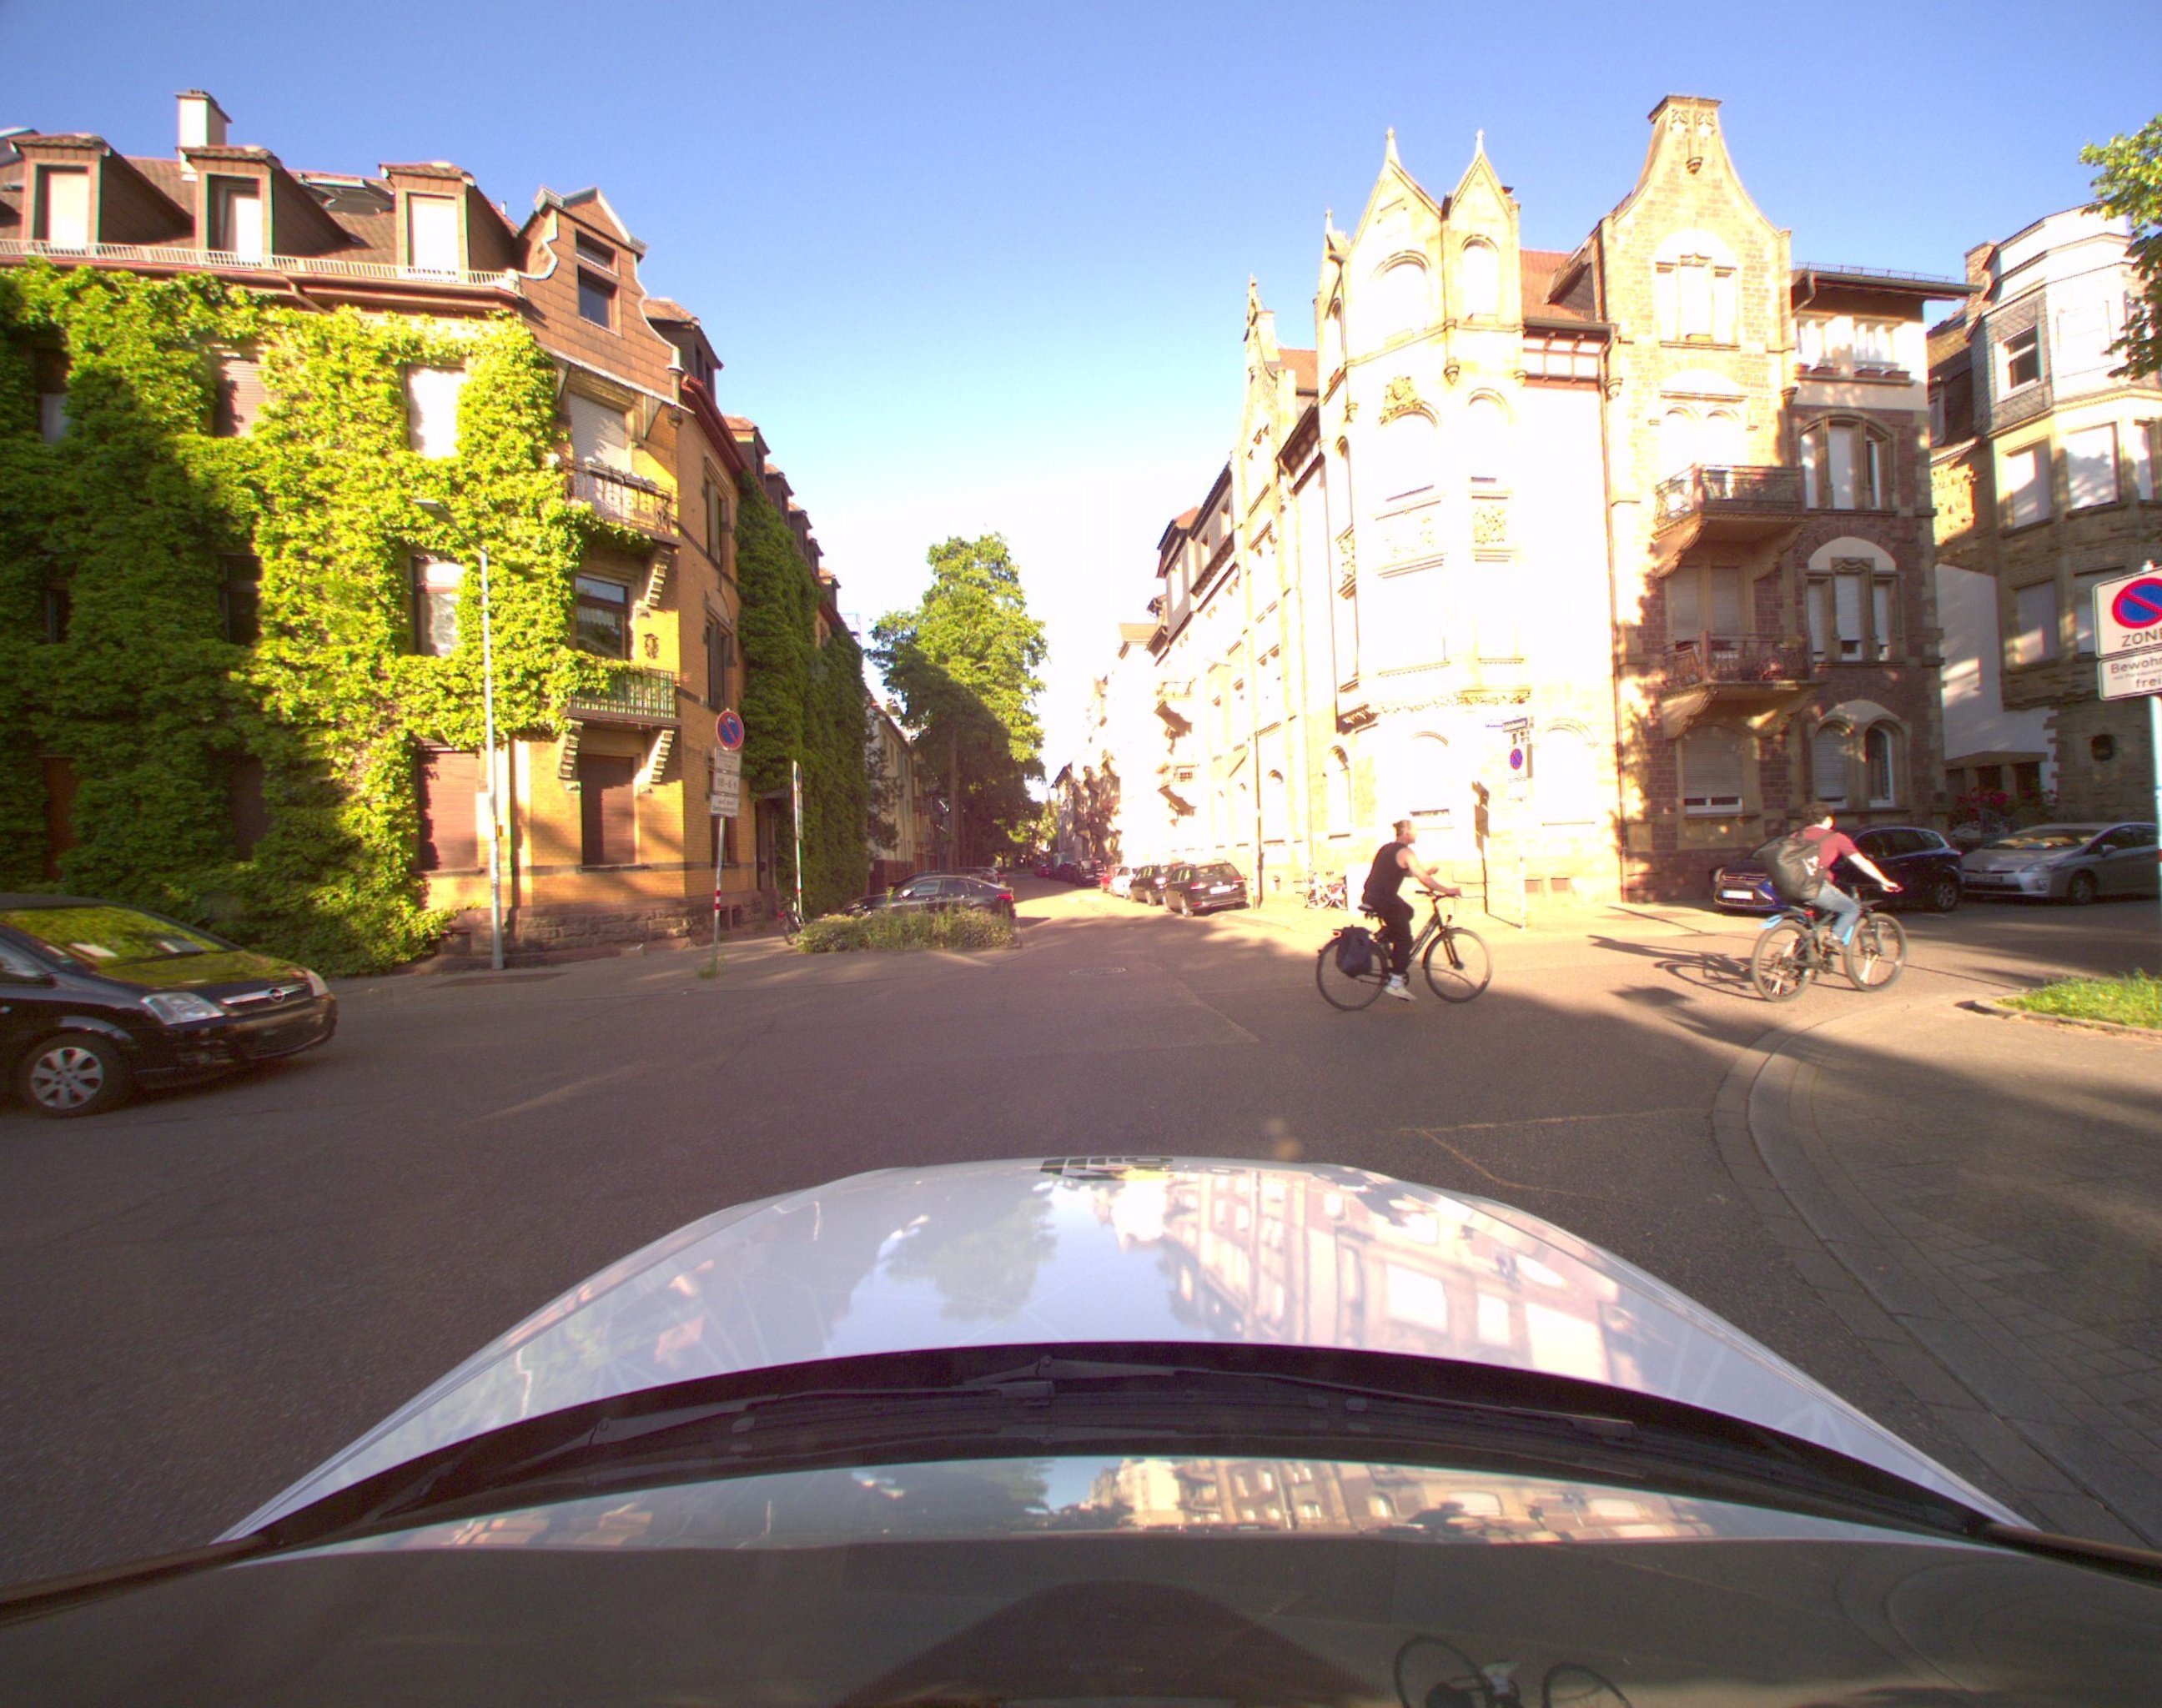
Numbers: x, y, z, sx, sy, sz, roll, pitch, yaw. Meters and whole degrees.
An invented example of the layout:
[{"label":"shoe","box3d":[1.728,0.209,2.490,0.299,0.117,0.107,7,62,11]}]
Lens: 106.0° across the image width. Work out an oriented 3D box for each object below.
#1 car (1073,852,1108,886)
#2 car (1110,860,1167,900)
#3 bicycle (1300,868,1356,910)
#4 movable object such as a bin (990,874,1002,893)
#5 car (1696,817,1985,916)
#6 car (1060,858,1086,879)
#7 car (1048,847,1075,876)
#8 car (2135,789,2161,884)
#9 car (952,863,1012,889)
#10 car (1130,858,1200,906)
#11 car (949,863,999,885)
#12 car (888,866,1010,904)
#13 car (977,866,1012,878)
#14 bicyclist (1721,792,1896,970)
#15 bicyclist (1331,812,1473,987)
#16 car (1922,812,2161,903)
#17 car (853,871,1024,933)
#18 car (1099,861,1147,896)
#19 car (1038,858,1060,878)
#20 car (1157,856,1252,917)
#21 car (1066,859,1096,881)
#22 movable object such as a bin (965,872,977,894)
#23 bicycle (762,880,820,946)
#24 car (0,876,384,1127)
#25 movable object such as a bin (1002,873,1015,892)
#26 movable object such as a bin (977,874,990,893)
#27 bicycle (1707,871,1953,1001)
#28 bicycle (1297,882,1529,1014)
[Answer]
[{"label":"car","box3d":[0.574,0.957,52.209,1.800,2.004,3.991,-1,-1,-6]},{"label":"car","box3d":[2.399,1.064,34.978,1.735,1.581,3.991,-1,-1,-6]},{"label":"bicycle","box3d":[6.094,0.843,20.188,0.515,0.998,1.566,-1,-1,-18]},{"label":"movable object such as a bin","box3d":[-4.710,1.628,45.173,0.630,1.053,0.566,-1,-1,-12]},{"label":"car","box3d":[13.882,0.192,14.969,4.246,1.622,1.729,-1,0,-11]},{"label":"car","box3d":[-0.692,1.181,67.255,1.800,1.679,3.991,-1,-1,-6]},{"label":"car","box3d":[-1.860,0.737,77.383,2.163,2.691,4.780,-1,-1,-6]},{"label":"car","box3d":[24.855,-0.453,16.817,4.485,1.974,1.968,-2,1,-11]},{"label":"car","box3d":[-6.497,1.416,53.101,3.802,1.575,1.704,-1,-1,-10]},{"label":"car","box3d":[2.988,0.988,29.672,1.735,1.581,3.991,-1,-1,-6]},{"label":"car","box3d":[-8.249,1.548,62.840,3.799,1.575,1.705,-1,-1,-9]},{"label":"car","box3d":[-5.435,1.253,33.815,4.832,1.435,1.705,-1,-1,-8]},{"label":"car","box3d":[-9.500,1.932,89.099,3.799,1.240,1.705,-1,-1,-9]},{"label":"bicyclist","box3d":[6.656,0.232,7.483,0.969,1.527,0.718,-1,-1,-9]},{"label":"bicyclist","box3d":[2.974,0.395,7.597,0.970,1.527,0.705,-1,-1,-13]},{"label":"car","box3d":[19.098,0.022,15.784,4.442,1.498,1.729,-2,1,-11]},{"label":"car","box3d":[-3.710,1.220,21.641,4.241,1.435,1.994,-1,-1,-8]},{"label":"car","box3d":[1.989,1.141,39.644,1.735,1.581,3.991,-1,-1,-6]},{"label":"car","box3d":[-3.700,1.620,94.305,2.163,2.237,4.780,-1,-1,-6]},{"label":"car","box3d":[3.484,0.898,23.688,1.735,1.581,3.991,-1,-1,-6]},{"label":"car","box3d":[-0.042,1.200,60.431,1.800,1.514,3.991,-1,-1,-6]},{"label":"movable object such as a bin","box3d":[-6.054,1.586,44.912,0.598,1.153,0.484,-1,-1,-12]},{"label":"bicycle","box3d":[-6.088,1.210,17.175,0.561,1.268,1.603,-3,0,1]},{"label":"car","box3d":[-8.211,1.086,6.229,4.007,1.590,1.644,-3,1,-10]},{"label":"movable object such as a bin","box3d":[-4.014,1.575,45.284,0.630,1.053,0.566,-1,-1,-12]},{"label":"movable object such as a bin","box3d":[-5.397,1.615,44.995,0.630,1.053,0.566,-1,-1,-12]},{"label":"bicycle","box3d":[6.860,0.720,7.475,1.962,1.073,0.555,-1,-1,-10]},{"label":"bicycle","box3d":[3.088,0.833,7.615,1.965,1.073,0.695,-1,-1,-14]}]
